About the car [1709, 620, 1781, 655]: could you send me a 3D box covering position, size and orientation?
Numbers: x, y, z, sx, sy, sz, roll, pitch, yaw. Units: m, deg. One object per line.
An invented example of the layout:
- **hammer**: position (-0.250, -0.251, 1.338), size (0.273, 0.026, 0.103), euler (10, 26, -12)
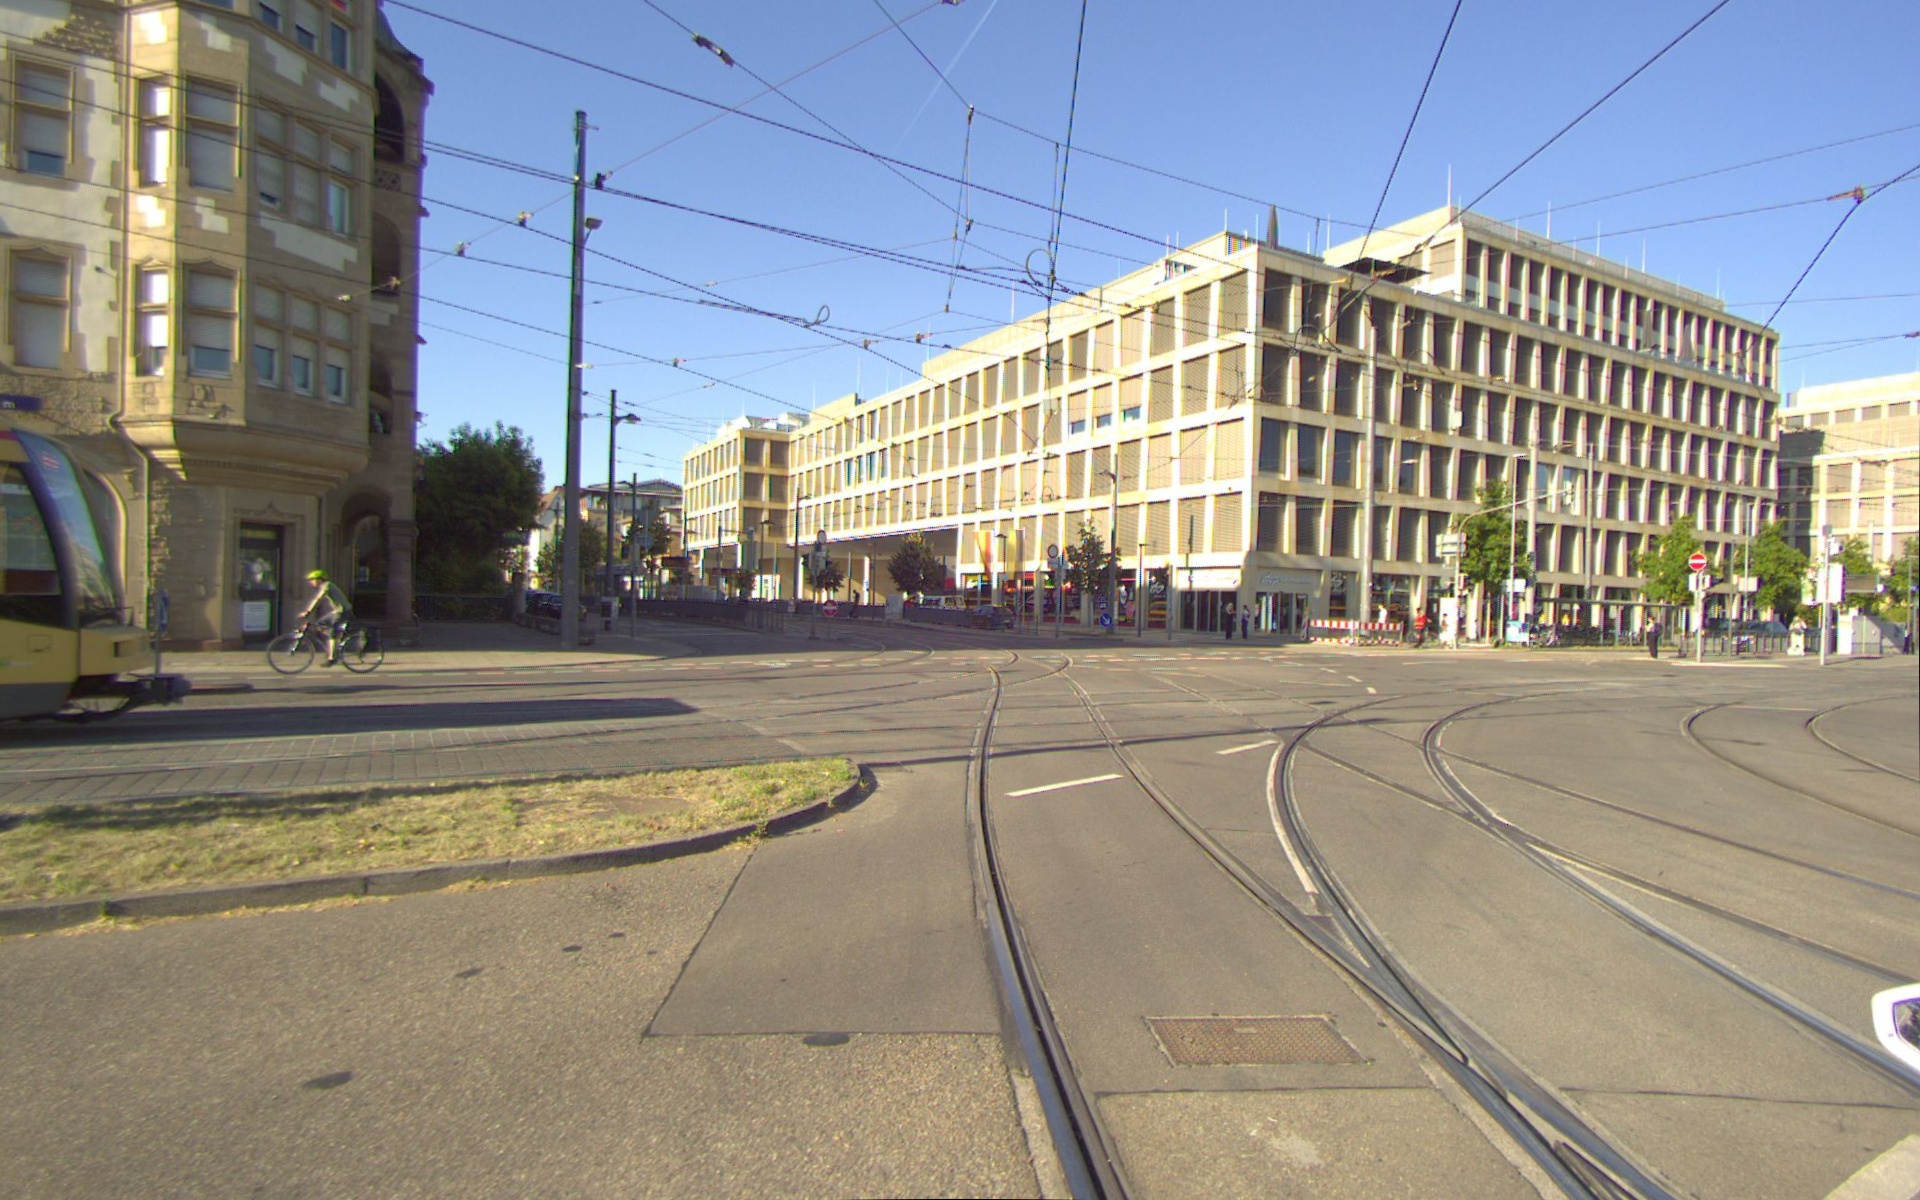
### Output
- **car**: position (43.884, 2.084, 56.151), size (4.065, 1.836, 1.833), euler (2, 0, -31)

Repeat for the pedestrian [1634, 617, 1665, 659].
- **pedestrian**: position (25.875, 1.434, 37.707), size (0.616, 1.553, 0.754), euler (1, 0, -26)

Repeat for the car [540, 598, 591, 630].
- **car**: position (-19.249, 0.670, 48.911), size (1.678, 1.443, 3.896), euler (1, 0, -31)

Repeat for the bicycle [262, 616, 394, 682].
- **bicycle**: position (-11.397, 0.869, 18.190), size (1.967, 1.137, 0.581), euler (1, 0, -29)

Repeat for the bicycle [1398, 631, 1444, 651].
- **bicycle**: position (20.123, 1.789, 43.898), size (0.611, 0.786, 1.971), euler (1, 0, -21)

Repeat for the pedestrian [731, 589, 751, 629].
- **pedestrian**: position (-10.907, 0.460, 50.017), size (0.864, 1.991, 0.545), euler (1, 0, -29)

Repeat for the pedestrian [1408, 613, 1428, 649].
- **pedestrian**: position (21.054, 1.422, 46.185), size (0.584, 1.595, 0.583), euler (1, 0, -3)

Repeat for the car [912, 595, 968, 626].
- **car**: position (-1.353, 0.676, 66.078), size (1.893, 1.939, 4.036), euler (1, 0, -32)

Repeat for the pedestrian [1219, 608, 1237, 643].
- **pedestrian**: position (12.746, 1.213, 47.786), size (0.528, 1.658, 0.586), euler (1, 0, -19)

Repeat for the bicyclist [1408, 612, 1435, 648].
- **bicyclist**: position (20.148, 1.299, 43.836), size (0.773, 1.546, 0.703), euler (1, 0, -21)

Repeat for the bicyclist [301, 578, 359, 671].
- **bicyclist**: position (-11.397, 0.439, 18.188), size (0.828, 1.636, 0.581), euler (1, 0, -29)

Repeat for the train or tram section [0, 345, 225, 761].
- **train or tram section**: position (-13.025, -0.518, 7.340), size (12.009, 3.536, 2.800), euler (1, 0, -30)

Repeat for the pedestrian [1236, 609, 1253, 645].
- **pedestrian**: position (13.398, 1.251, 47.306), size (0.526, 1.658, 0.588), euler (1, 0, -8)

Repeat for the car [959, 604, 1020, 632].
- **car**: position (1.778, 1.079, 61.386), size (1.832, 1.635, 4.036), euler (1, 0, -32)

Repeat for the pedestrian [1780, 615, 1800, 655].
- **pedestrian**: position (35.300, 1.495, 42.716), size (0.609, 1.686, 0.512), euler (1, 0, 36)

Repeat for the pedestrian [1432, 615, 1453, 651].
- **pedestrian**: position (21.154, 1.460, 44.068), size (0.574, 1.546, 0.593), euler (1, 0, -21)
